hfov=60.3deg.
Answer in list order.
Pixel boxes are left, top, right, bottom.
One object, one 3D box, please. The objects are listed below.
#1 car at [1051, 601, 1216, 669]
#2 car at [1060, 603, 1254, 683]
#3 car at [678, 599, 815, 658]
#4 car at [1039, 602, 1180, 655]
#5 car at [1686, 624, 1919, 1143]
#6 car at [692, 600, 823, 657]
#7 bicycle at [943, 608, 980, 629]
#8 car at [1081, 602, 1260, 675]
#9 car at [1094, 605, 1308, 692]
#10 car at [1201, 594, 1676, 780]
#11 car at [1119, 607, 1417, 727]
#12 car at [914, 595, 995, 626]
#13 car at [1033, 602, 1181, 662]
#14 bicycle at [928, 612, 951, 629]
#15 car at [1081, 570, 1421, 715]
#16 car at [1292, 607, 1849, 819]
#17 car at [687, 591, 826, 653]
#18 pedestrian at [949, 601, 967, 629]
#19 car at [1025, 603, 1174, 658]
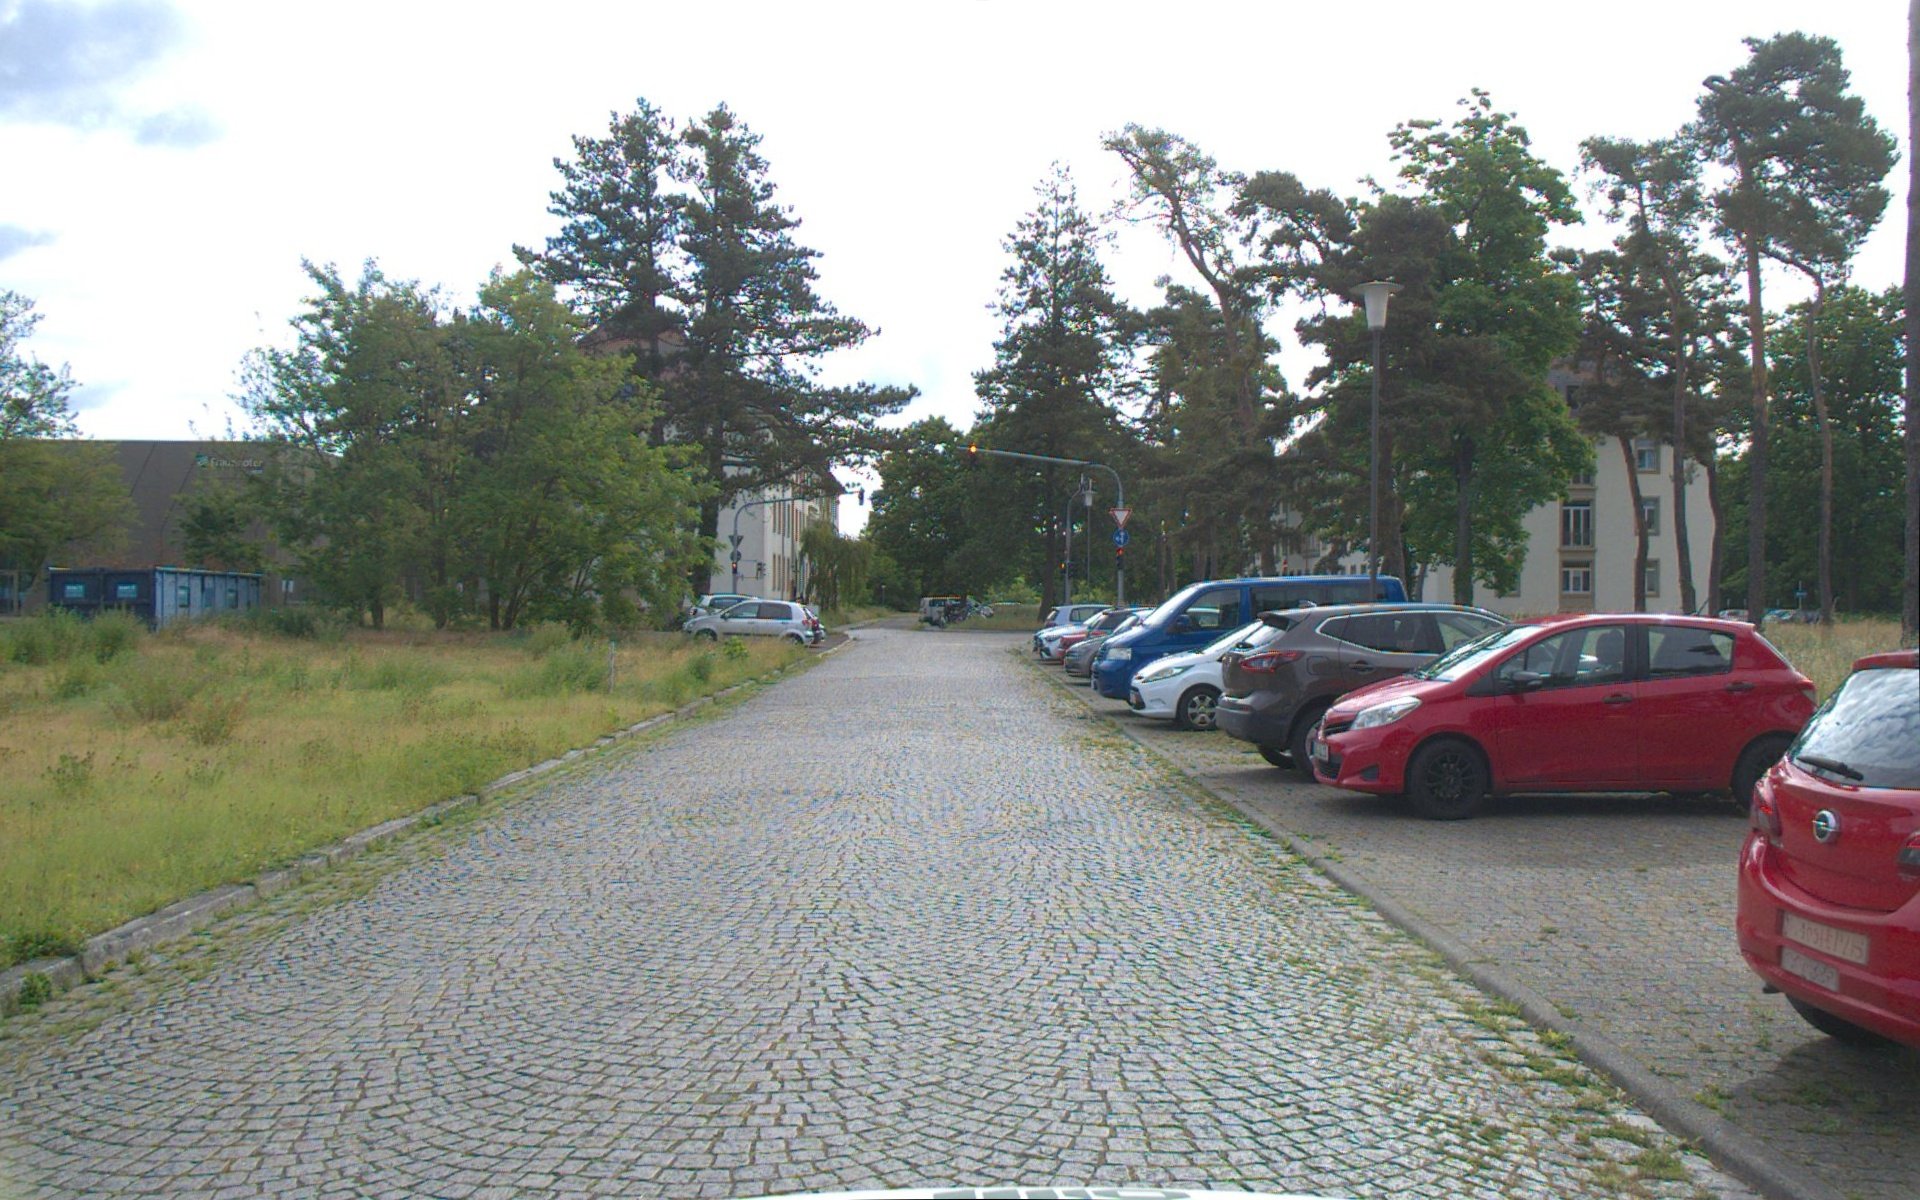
[{"bbox_3d":[3.995,0.803,38.369,3.598,1.475,1.523,-1,-1,-3],"label":"car"},{"bbox_3d":[3.855,0.826,32.672,3.598,1.475,1.523,-1,-1,-3],"label":"car"},{"bbox_3d":[-6.052,0.802,47.174,3.746,1.600,1.563,-1,-1,-4],"label":"car"},{"bbox_3d":[4.353,0.822,48.418,3.890,1.446,1.618,-1,-1,-5],"label":"car"},{"bbox_3d":[4.651,0.812,5.418,3.748,1.486,1.779,-1,0,-2],"label":"car"},{"bbox_3d":[-6.043,0.848,49.590,3.744,1.600,1.564,-1,-1,-2],"label":"car"},{"bbox_3d":[0.076,1.089,97.272,2.095,1.236,0.621,1,0,-5],"label":"bicycle"},{"bbox_3d":[4.501,0.821,35.671,3.598,1.475,1.523,-1,-1,-3],"label":"car"},{"bbox_3d":[4.307,0.854,29.900,3.598,1.475,1.523,-1,-1,-3],"label":"car"},{"bbox_3d":[4.421,0.777,15.655,3.948,1.580,1.750,-1,-1,-3],"label":"car"},{"bbox_3d":[4.038,0.859,22.025,3.599,1.475,1.613,-1,-1,-3],"label":"car"},{"bbox_3d":[-0.386,0.712,115.176,5.346,2.049,2.263,1,0,-10],"label":"car"},{"bbox_3d":[3.784,0.818,42.902,3.600,1.446,1.522,-1,-1,-5],"label":"car"},{"bbox_3d":[-1.149,1.153,93.182,0.613,0.961,1.648,1,0,-28],"label":"bicycle"},{"bbox_3d":[4.244,0.610,24.623,4.659,1.989,1.930,-1,-1,-3],"label":"car"},{"bbox_3d":[4.654,0.832,12.999,3.715,1.486,1.751,-1,0,-1],"label":"car"},{"bbox_3d":[-6.425,0.689,52.573,4.176,1.873,1.743,-1,-1,-2],"label":"car"},{"bbox_3d":[-0.122,0.878,97.613,1.013,1.642,0.756,1,-1,-5],"label":"pedestrian"},{"bbox_3d":[3.830,0.830,45.758,3.890,1.446,1.618,-1,-1,-5],"label":"car"}]
